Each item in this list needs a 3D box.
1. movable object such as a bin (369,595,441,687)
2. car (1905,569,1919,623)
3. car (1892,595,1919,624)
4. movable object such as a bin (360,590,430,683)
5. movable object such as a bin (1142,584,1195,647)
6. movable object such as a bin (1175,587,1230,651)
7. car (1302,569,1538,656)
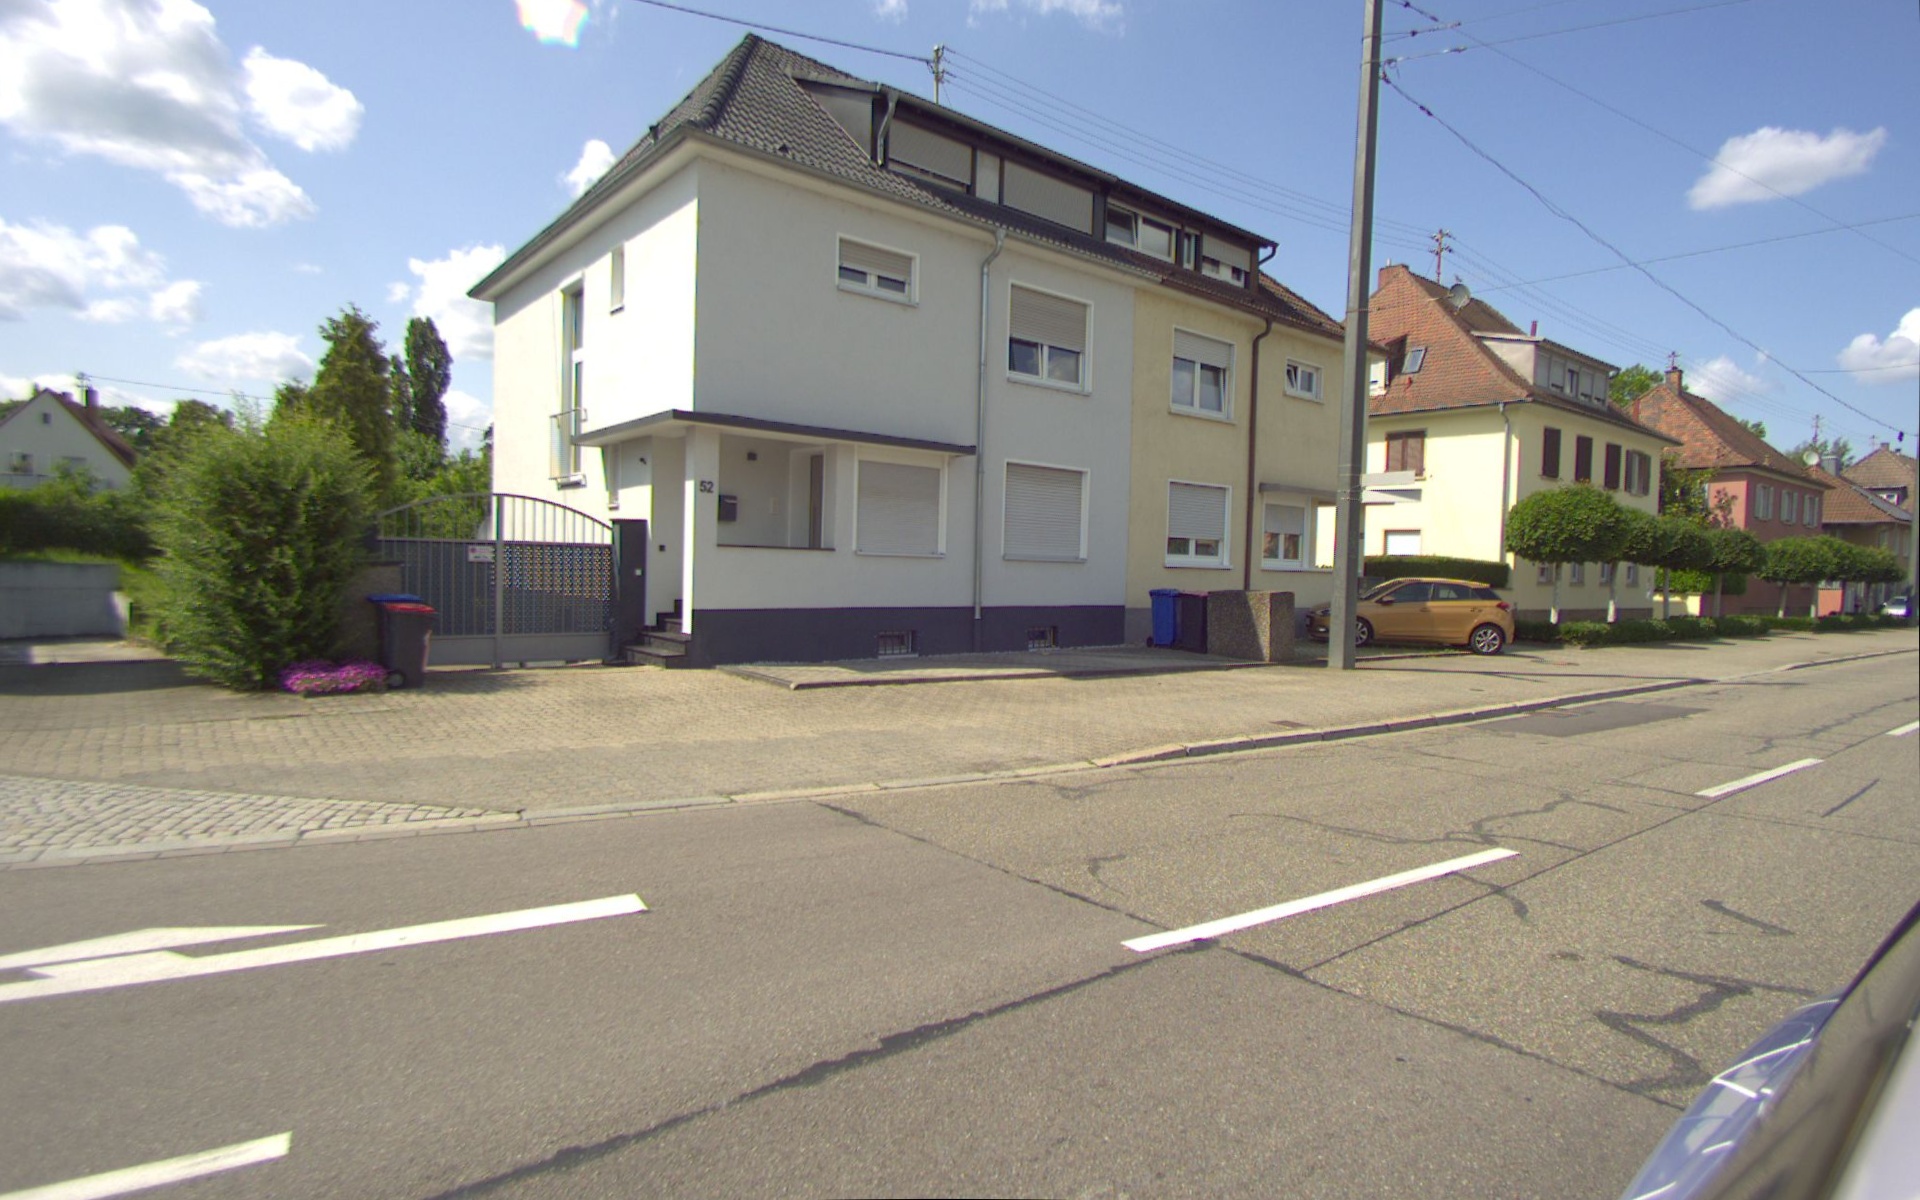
[{"bbox_3d":[-5.754,0.412,10.493,0.445,0.906,0.537,4,2,45],"label":"movable object such as a bin"},{"bbox_3d":[55.628,-0.228,57.106,6.126,2.966,2.159,0,1,-35],"label":"car"},{"bbox_3d":[50.279,0.477,52.932,4.273,1.426,1.653,0,3,-40],"label":"car"},{"bbox_3d":[-6.075,0.380,10.882,0.441,0.946,0.541,3,2,45],"label":"movable object such as a bin"},{"bbox_3d":[3.735,0.267,18.133,0.648,1.068,0.647,1,1,-40],"label":"movable object such as a bin"},{"bbox_3d":[4.213,0.318,17.614,0.673,1.060,0.639,1,1,-40],"label":"movable object such as a bin"},{"bbox_3d":[9.448,0.211,21.125,4.028,1.476,1.911,4,1,10],"label":"car"}]
